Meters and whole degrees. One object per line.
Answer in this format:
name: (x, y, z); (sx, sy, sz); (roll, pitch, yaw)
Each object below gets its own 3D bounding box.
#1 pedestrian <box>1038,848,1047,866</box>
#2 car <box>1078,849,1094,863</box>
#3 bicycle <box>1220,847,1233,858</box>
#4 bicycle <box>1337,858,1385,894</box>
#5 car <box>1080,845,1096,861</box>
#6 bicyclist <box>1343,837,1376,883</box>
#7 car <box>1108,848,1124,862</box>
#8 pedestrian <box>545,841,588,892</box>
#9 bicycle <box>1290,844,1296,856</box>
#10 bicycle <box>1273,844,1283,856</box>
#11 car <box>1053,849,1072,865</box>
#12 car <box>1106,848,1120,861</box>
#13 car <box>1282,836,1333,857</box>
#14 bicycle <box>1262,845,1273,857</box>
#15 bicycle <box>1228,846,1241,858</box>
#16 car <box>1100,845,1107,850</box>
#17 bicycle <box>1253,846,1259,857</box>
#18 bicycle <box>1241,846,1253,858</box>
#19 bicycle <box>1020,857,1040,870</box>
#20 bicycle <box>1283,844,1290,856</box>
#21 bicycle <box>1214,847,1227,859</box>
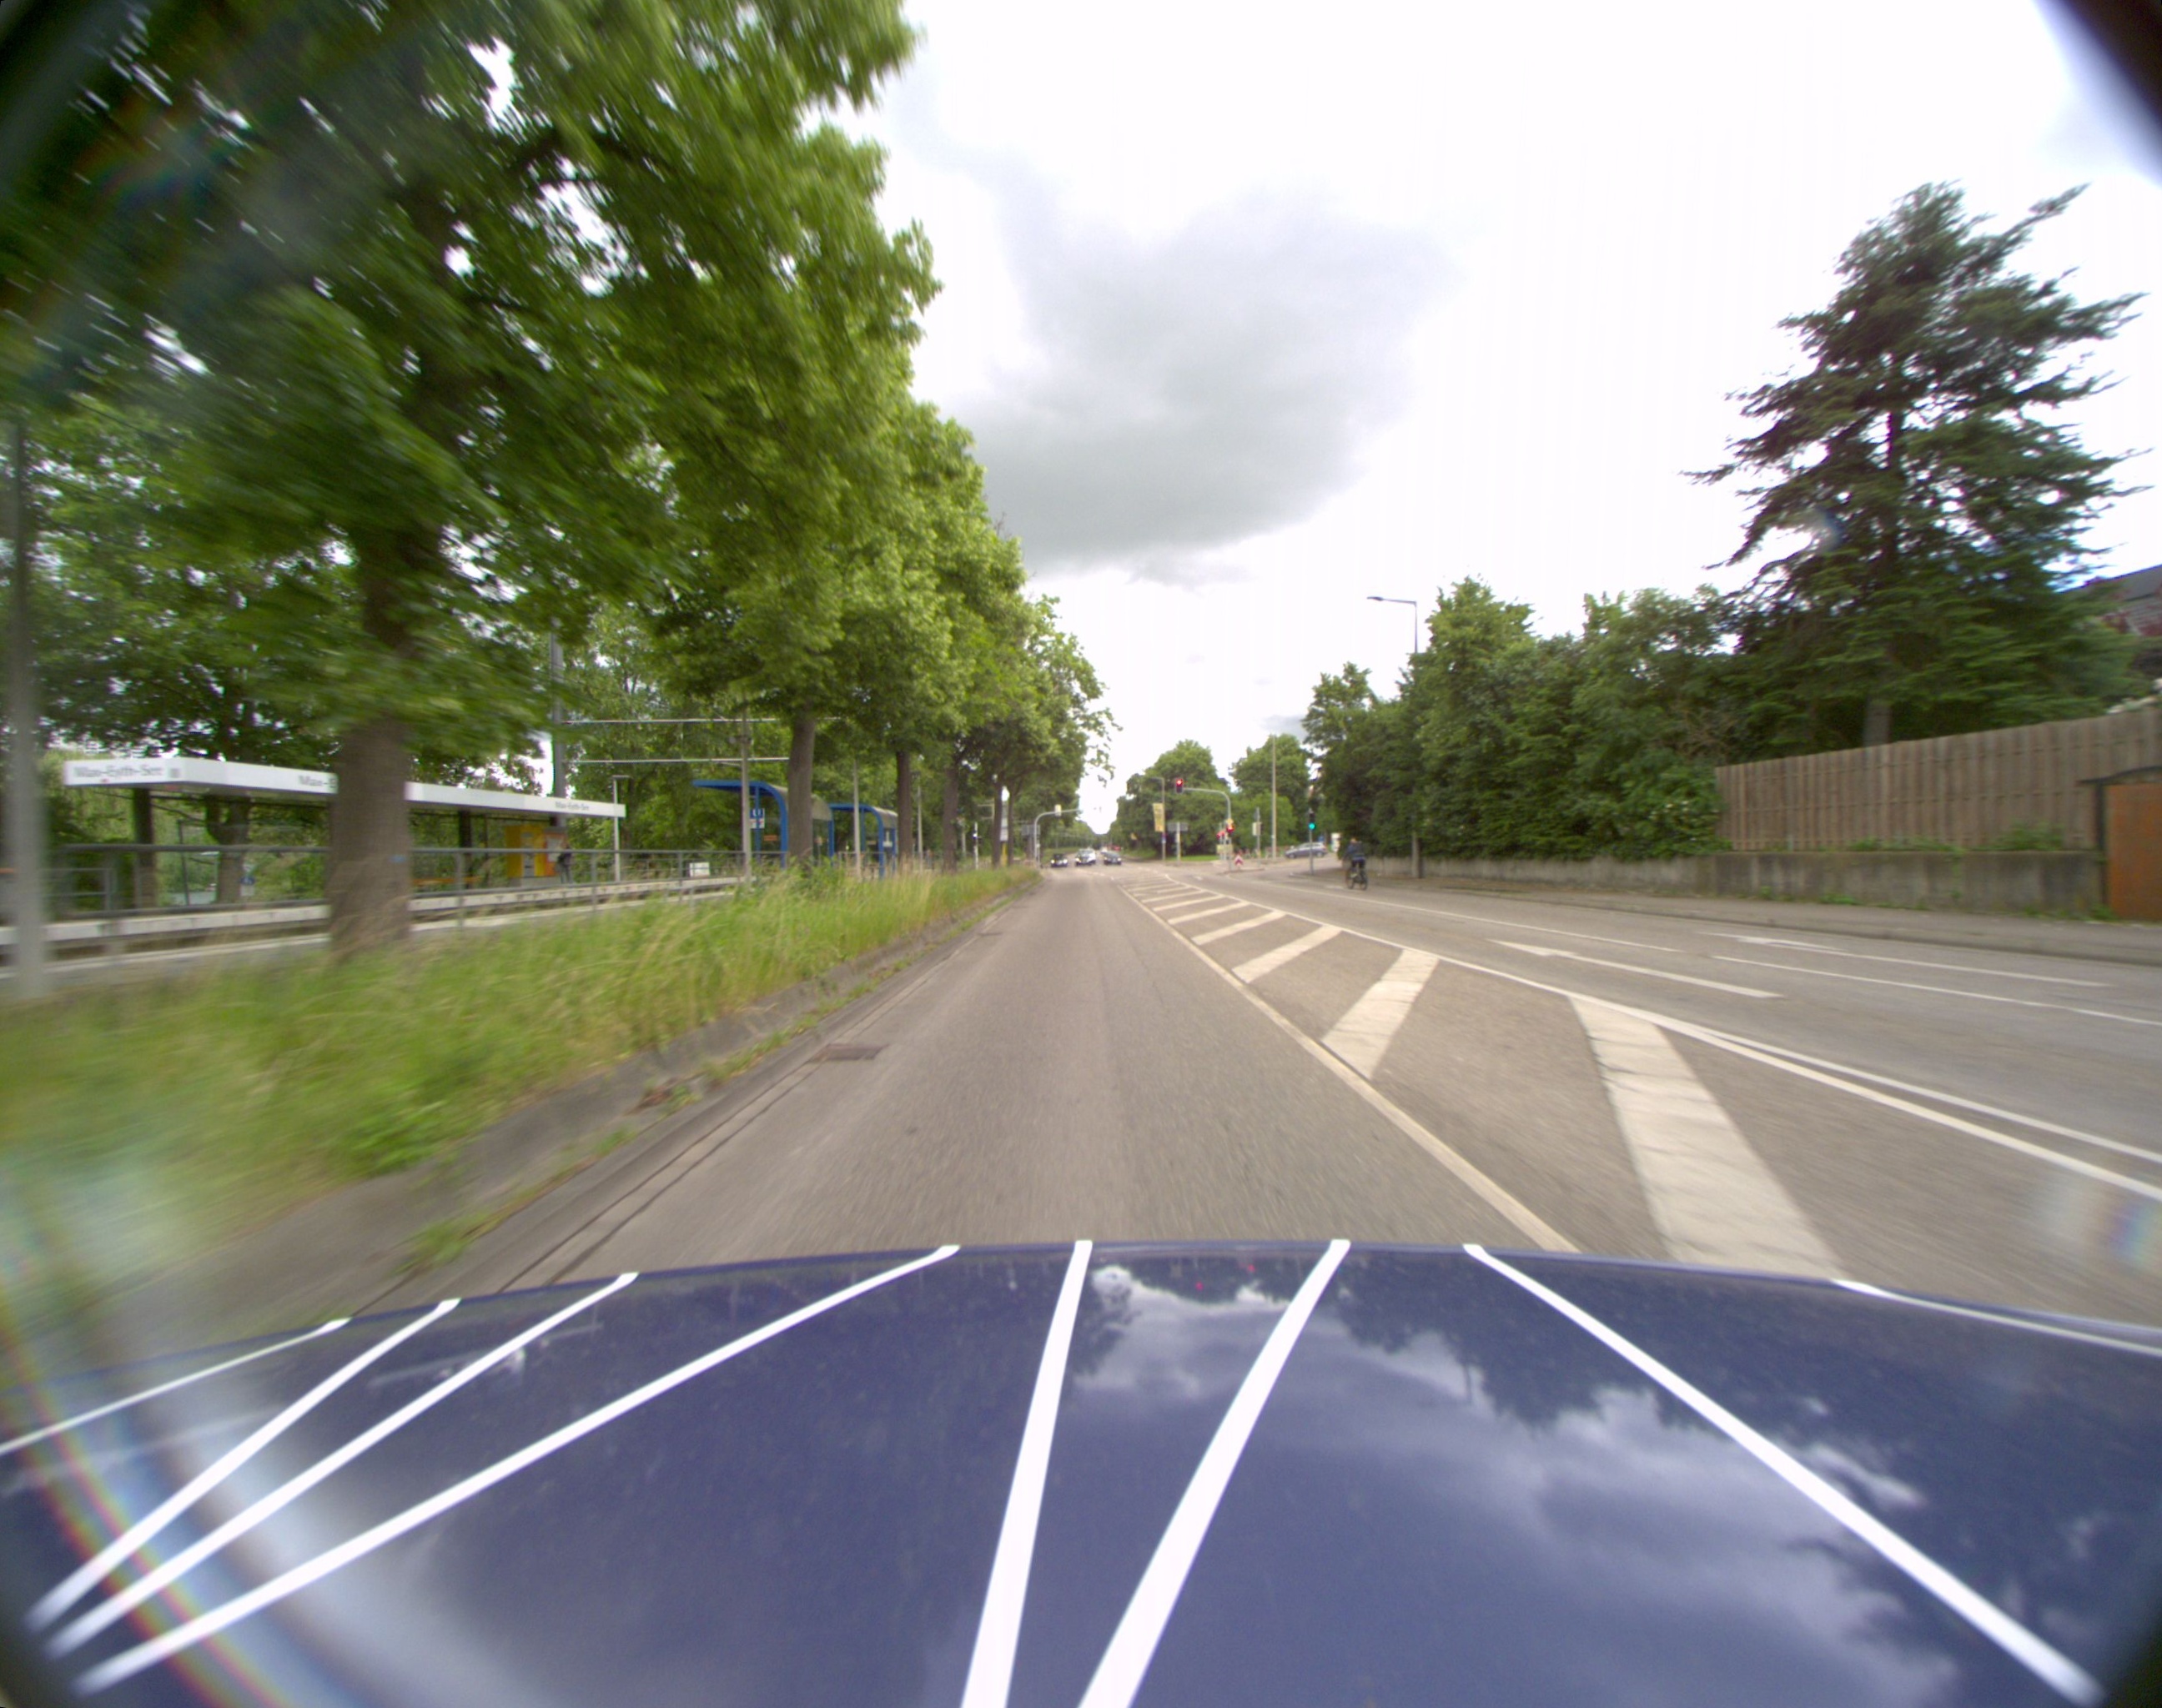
pedestrian: (-3.798, 0.330, 74.465); (0.753, 1.727, 0.840); (1, 1, 5)
car: (0.561, 0.193, 84.102); (1.708, 1.472, 3.667); (-2, 1, 0)
bicycle: (16.962, -0.173, 88.526); (0.544, 1.245, 1.939); (-2, 1, 38)
bicycle: (9.602, 0.742, 26.153); (0.644, 1.138, 2.147); (-3, 0, -4)
car: (0.832, -0.127, 94.850); (1.912, 1.832, 5.281); (-2, 1, 0)
bicyclist: (9.569, 0.200, 26.094); (0.644, 1.526, 0.978); (-3, 1, -4)
car: (3.844, 0.116, 83.754); (1.560, 1.458, 3.807); (0, 1, 0)
pedestrian: (-15.944, 0.373, 23.569); (0.720, 1.503, 0.724); (-3, 2, 3)
bicycle: (23.753, -0.486, 85.218); (0.545, 1.245, 1.937); (-3, 1, 17)
bicycle: (22.221, -0.408, 85.676); (0.544, 1.245, 1.938); (-2, 2, 33)
car: (-1.975, 0.322, 82.434); (1.807, 1.520, 3.928); (-3, 1, 2)
car: (3.872, 0.037, 91.550); (1.595, 1.459, 3.929); (0, 1, 2)
car: (23.008, -0.727, 77.114); (4.736, 1.842, 2.002); (-3, 1, 21)
bicycle: (21.111, -0.358, 86.190); (0.544, 1.245, 1.938); (-2, 2, 33)
bicycle: (17.797, -0.211, 88.071); (0.544, 1.245, 1.939); (-2, 2, 38)
car: (6.625, -1.906, 224.086); (1.743, 1.530, 3.910); (-3, 1, 3)
bicycle: (19.970, -0.305, 86.683); (0.545, 1.245, 1.937); (-3, 1, 17)
bicycle: (19.059, -0.260, 87.073); (0.544, 1.245, 1.939); (-2, 2, 38)
bicycle: (-4.443, 0.807, 65.805); (1.679, 1.084, 0.602); (1, 1, -4)
bicycle: (23.127, -0.454, 85.464); (0.544, 1.245, 1.938); (-2, 1, 23)
bicycle: (16.324, -0.144, 88.823); (0.544, 1.245, 1.939); (-2, 2, 38)
